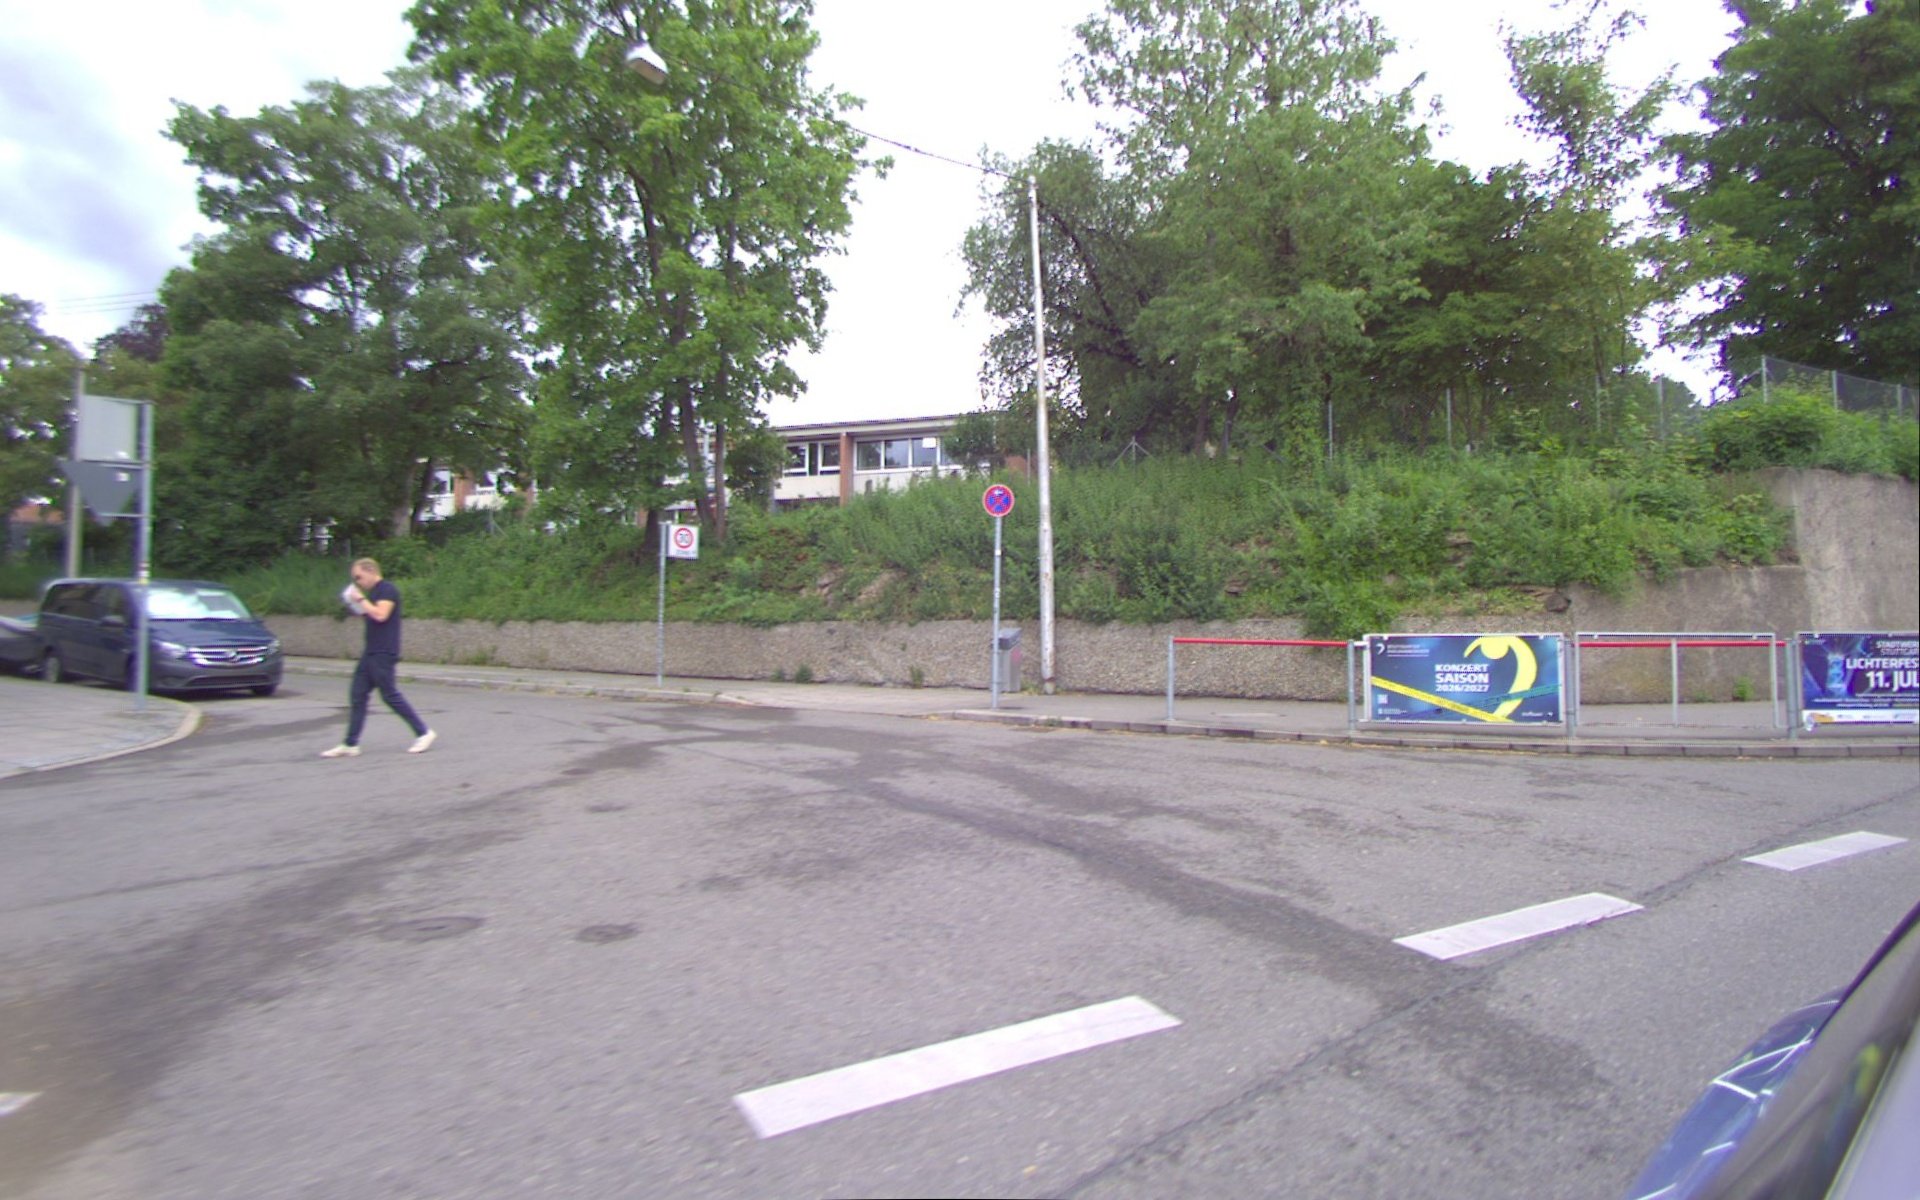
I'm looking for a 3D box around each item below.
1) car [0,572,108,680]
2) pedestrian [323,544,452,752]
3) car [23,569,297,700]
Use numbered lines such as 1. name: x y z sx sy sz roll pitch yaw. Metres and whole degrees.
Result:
1. car: -18.649 0.486 19.489 4.799 1.888 1.929 0 -2 31
2. pedestrian: -5.370 0.436 9.500 0.965 1.852 0.575 2 -2 -33
3. car: -13.254 0.534 16.706 4.799 1.888 1.929 0 -2 31
